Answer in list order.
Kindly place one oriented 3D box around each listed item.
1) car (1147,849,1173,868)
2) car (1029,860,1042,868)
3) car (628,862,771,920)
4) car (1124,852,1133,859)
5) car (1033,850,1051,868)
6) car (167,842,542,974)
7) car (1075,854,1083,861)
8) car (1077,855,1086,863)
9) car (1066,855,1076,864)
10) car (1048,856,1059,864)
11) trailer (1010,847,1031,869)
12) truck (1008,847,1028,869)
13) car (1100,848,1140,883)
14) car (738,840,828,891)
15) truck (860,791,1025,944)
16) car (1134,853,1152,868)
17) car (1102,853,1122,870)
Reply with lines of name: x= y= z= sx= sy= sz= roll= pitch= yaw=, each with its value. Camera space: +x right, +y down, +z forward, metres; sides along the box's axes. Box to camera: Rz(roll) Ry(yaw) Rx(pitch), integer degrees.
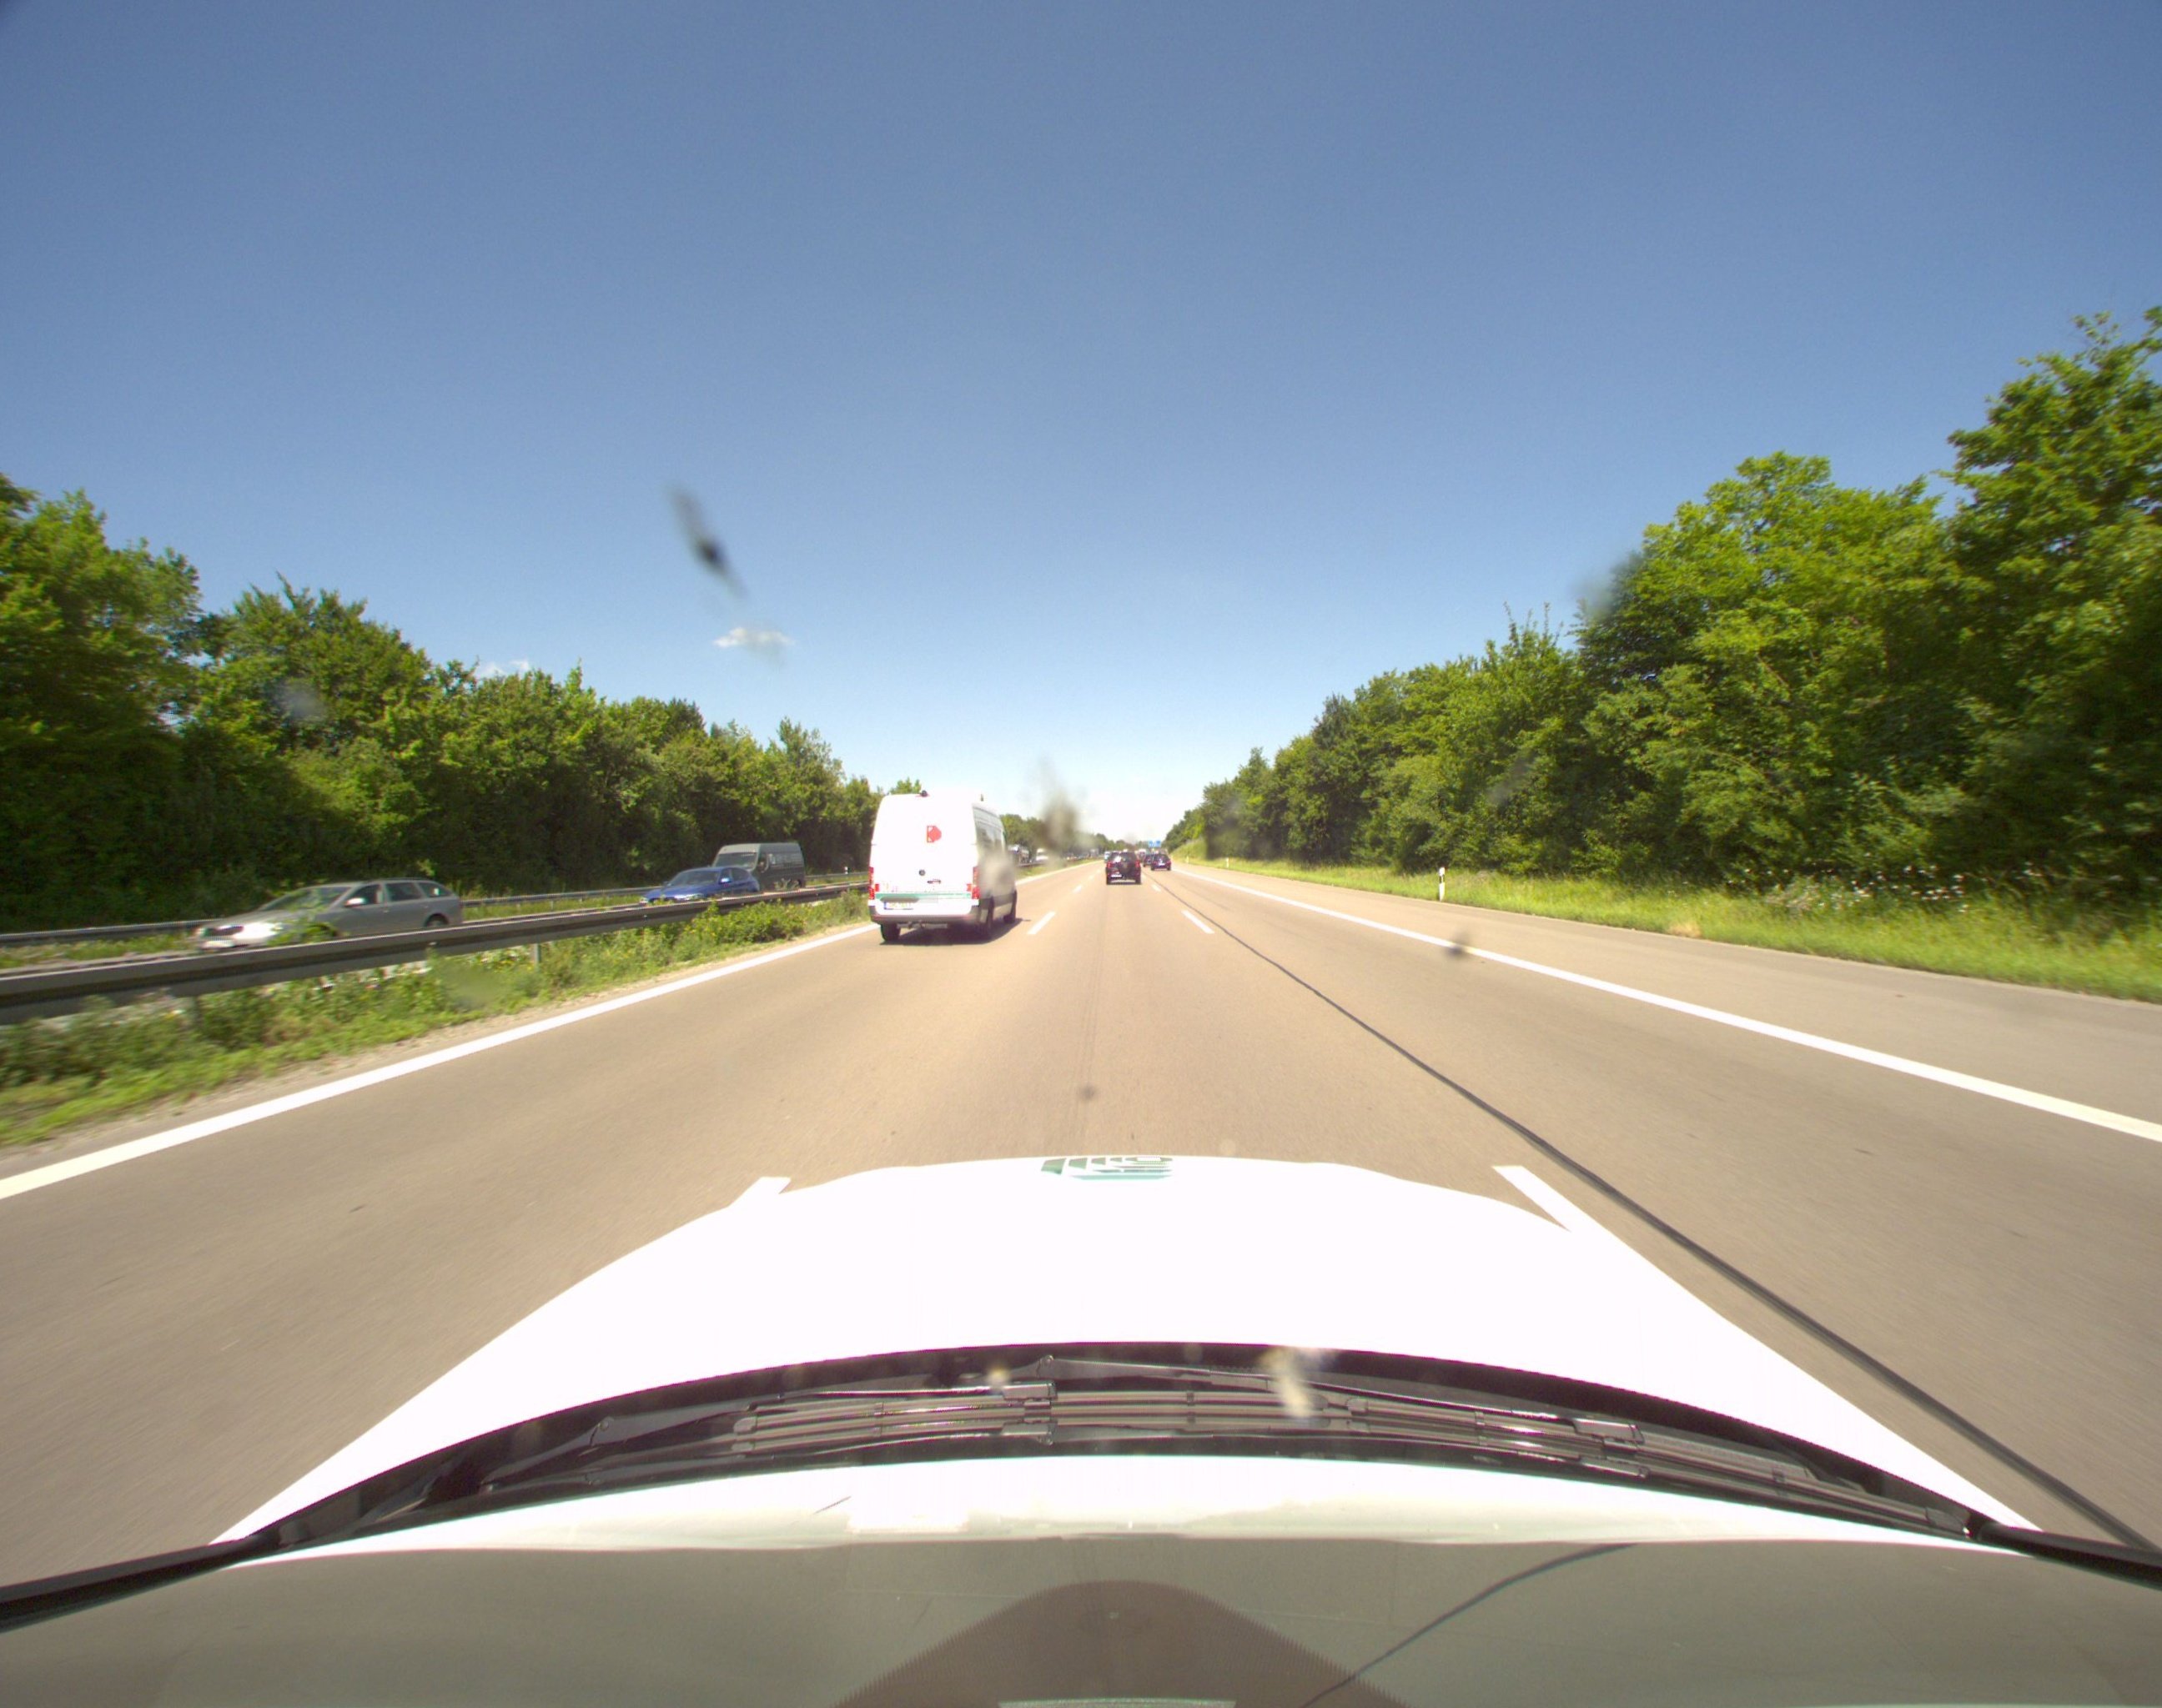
car: x=7.123 y=0.421 z=73.806 sx=1.986 sy=1.684 sz=4.001 roll=-2 pitch=-1 yaw=2
car: x=-8.076 y=1.779 z=144.618 sx=1.899 sy=1.416 sz=4.894 roll=-2 pitch=0 yaw=3
car: x=-10.474 y=0.955 z=22.772 sx=1.719 sy=1.375 sz=4.546 roll=-2 pitch=0 yaw=1
car: x=11.878 y=0.303 z=203.494 sx=1.987 sy=1.750 sz=4.204 roll=-2 pitch=0 yaw=0
car: x=-5.954 y=0.759 z=124.786 sx=2.062 sy=2.555 sz=6.405 roll=-2 pitch=0 yaw=3
car: x=-14.788 y=0.985 z=17.404 sx=1.986 sy=2.235 sz=6.520 roll=-2 pitch=-1 yaw=2
car: x=-0.614 y=1.111 z=243.152 sx=1.985 sy=1.855 sz=4.501 roll=-2 pitch=-1 yaw=2
car: x=0.070 y=1.318 z=218.070 sx=1.985 sy=1.855 sz=4.504 roll=-2 pitch=-1 yaw=4
car: x=-2.189 y=1.163 z=175.091 sx=1.899 sy=1.788 sz=5.063 roll=-2 pitch=0 yaw=3
car: x=-6.146 y=1.396 z=183.697 sx=1.985 sy=1.855 sz=4.504 roll=-2 pitch=-1 yaw=4
trailer: x=-11.390 y=0.709 z=154.960 sx=2.756 sy=3.882 sz=9.461 roll=-4 pitch=0 yaw=2
truck: x=-11.527 y=0.723 z=149.668 sx=2.721 sy=3.882 sz=6.323 roll=-4 pitch=0 yaw=1
car: x=1.984 y=0.611 z=41.799 sx=1.899 sy=1.665 sz=4.002 roll=-2 pitch=-1 yaw=2
car: x=-13.512 y=0.532 z=37.310 sx=1.986 sy=2.096 sz=5.251 roll=-2 pitch=-1 yaw=2
truck: x=-2.550 y=0.215 z=16.957 sx=1.985 sy=2.542 sz=6.696 roll=0 pitch=0 yaw=2
car: x=7.119 y=0.734 z=93.806 sx=1.836 sy=1.611 sz=4.001 roll=-2 pitch=-1 yaw=1
car: x=3.379 y=0.747 z=86.919 sx=1.985 sy=1.706 sz=4.340 roll=-2 pitch=0 yaw=3
